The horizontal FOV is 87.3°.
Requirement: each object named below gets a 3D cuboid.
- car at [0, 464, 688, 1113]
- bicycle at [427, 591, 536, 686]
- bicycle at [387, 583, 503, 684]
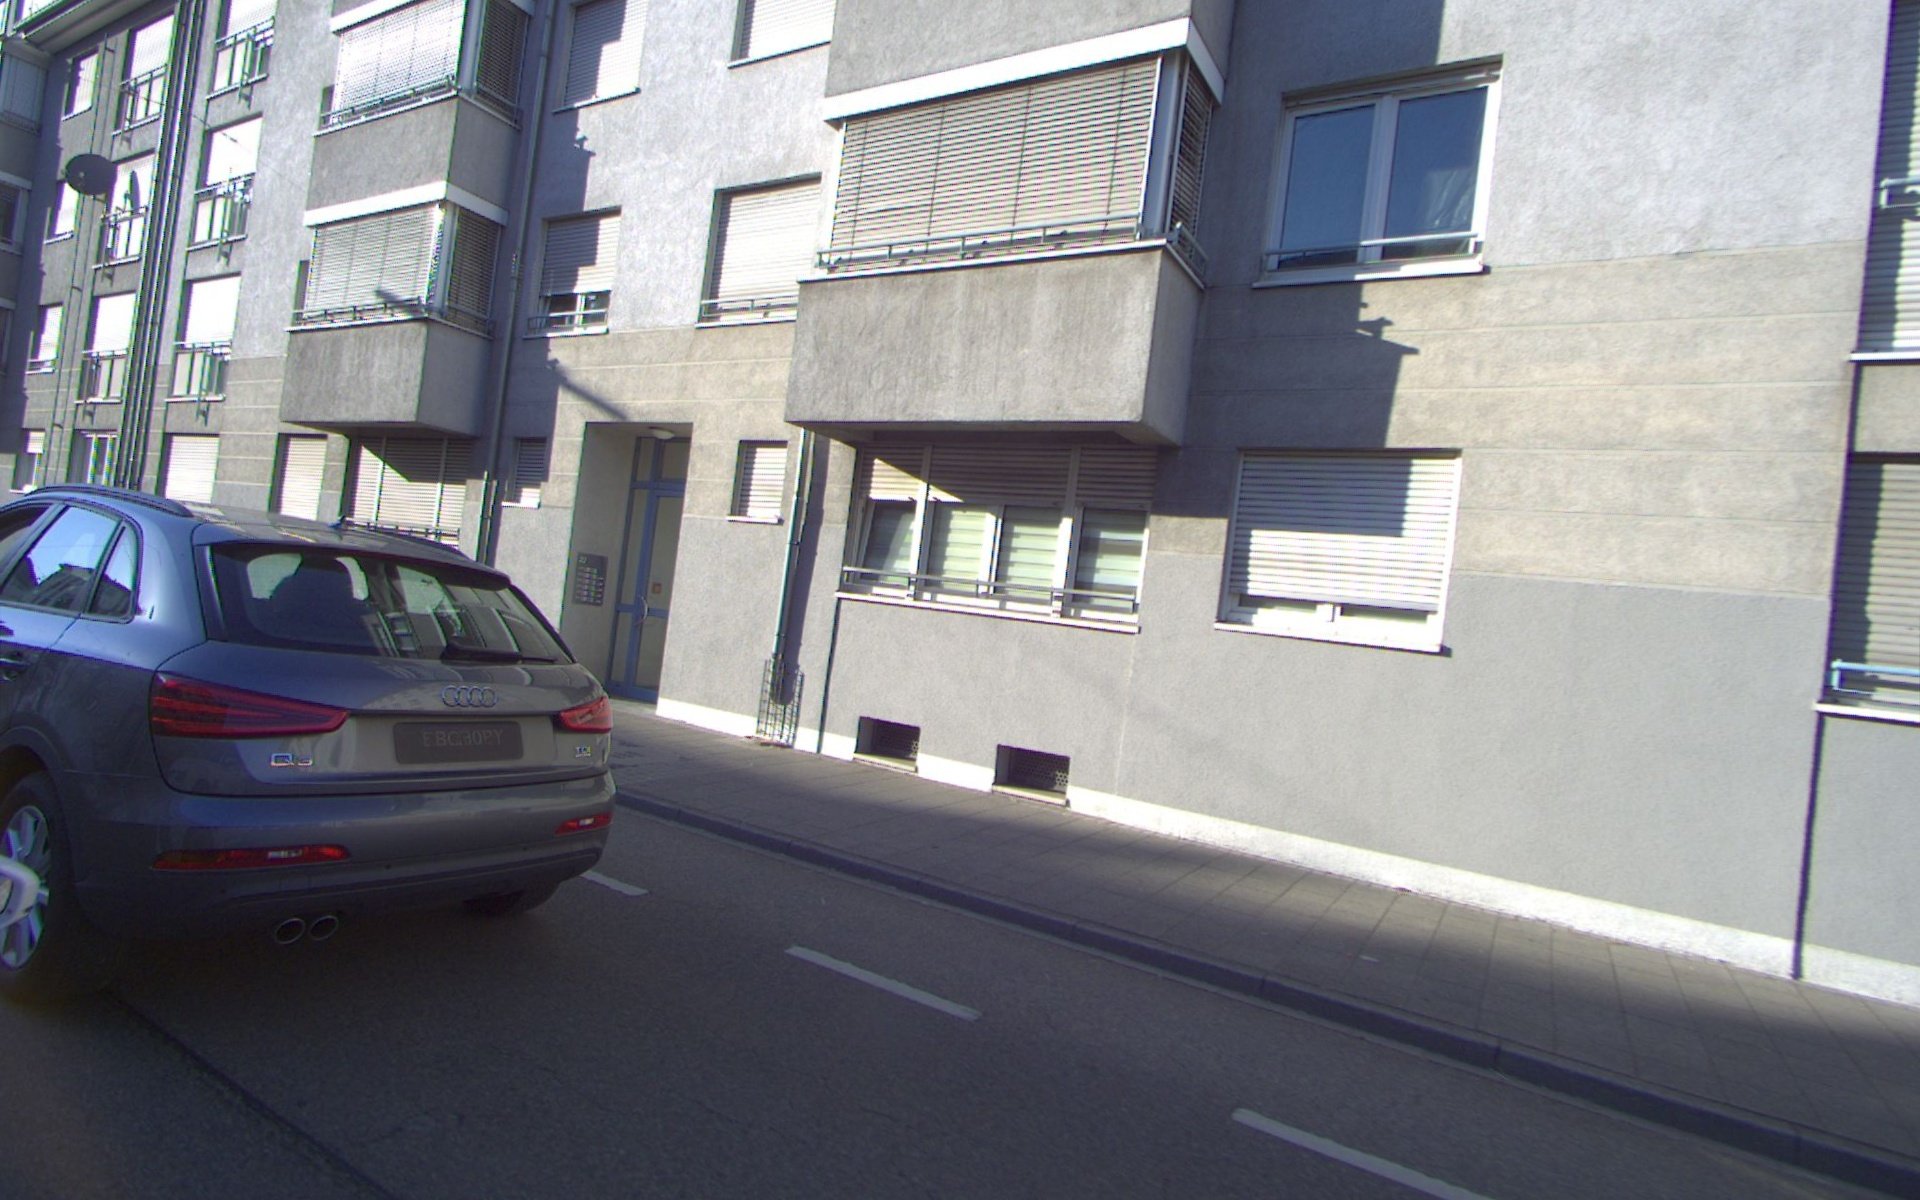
[{"bbox_3d":[-3.334,0.376,4.315,4.000,1.606,1.770,6,-1,31],"label":"car"},{"bbox_3d":[-5.973,0.459,12.514,1.701,0.984,0.278,6,2,31],"label":"bicycle"},{"bbox_3d":[-6.310,0.393,12.299,1.701,1.045,0.360,6,2,31],"label":"bicycle"}]
